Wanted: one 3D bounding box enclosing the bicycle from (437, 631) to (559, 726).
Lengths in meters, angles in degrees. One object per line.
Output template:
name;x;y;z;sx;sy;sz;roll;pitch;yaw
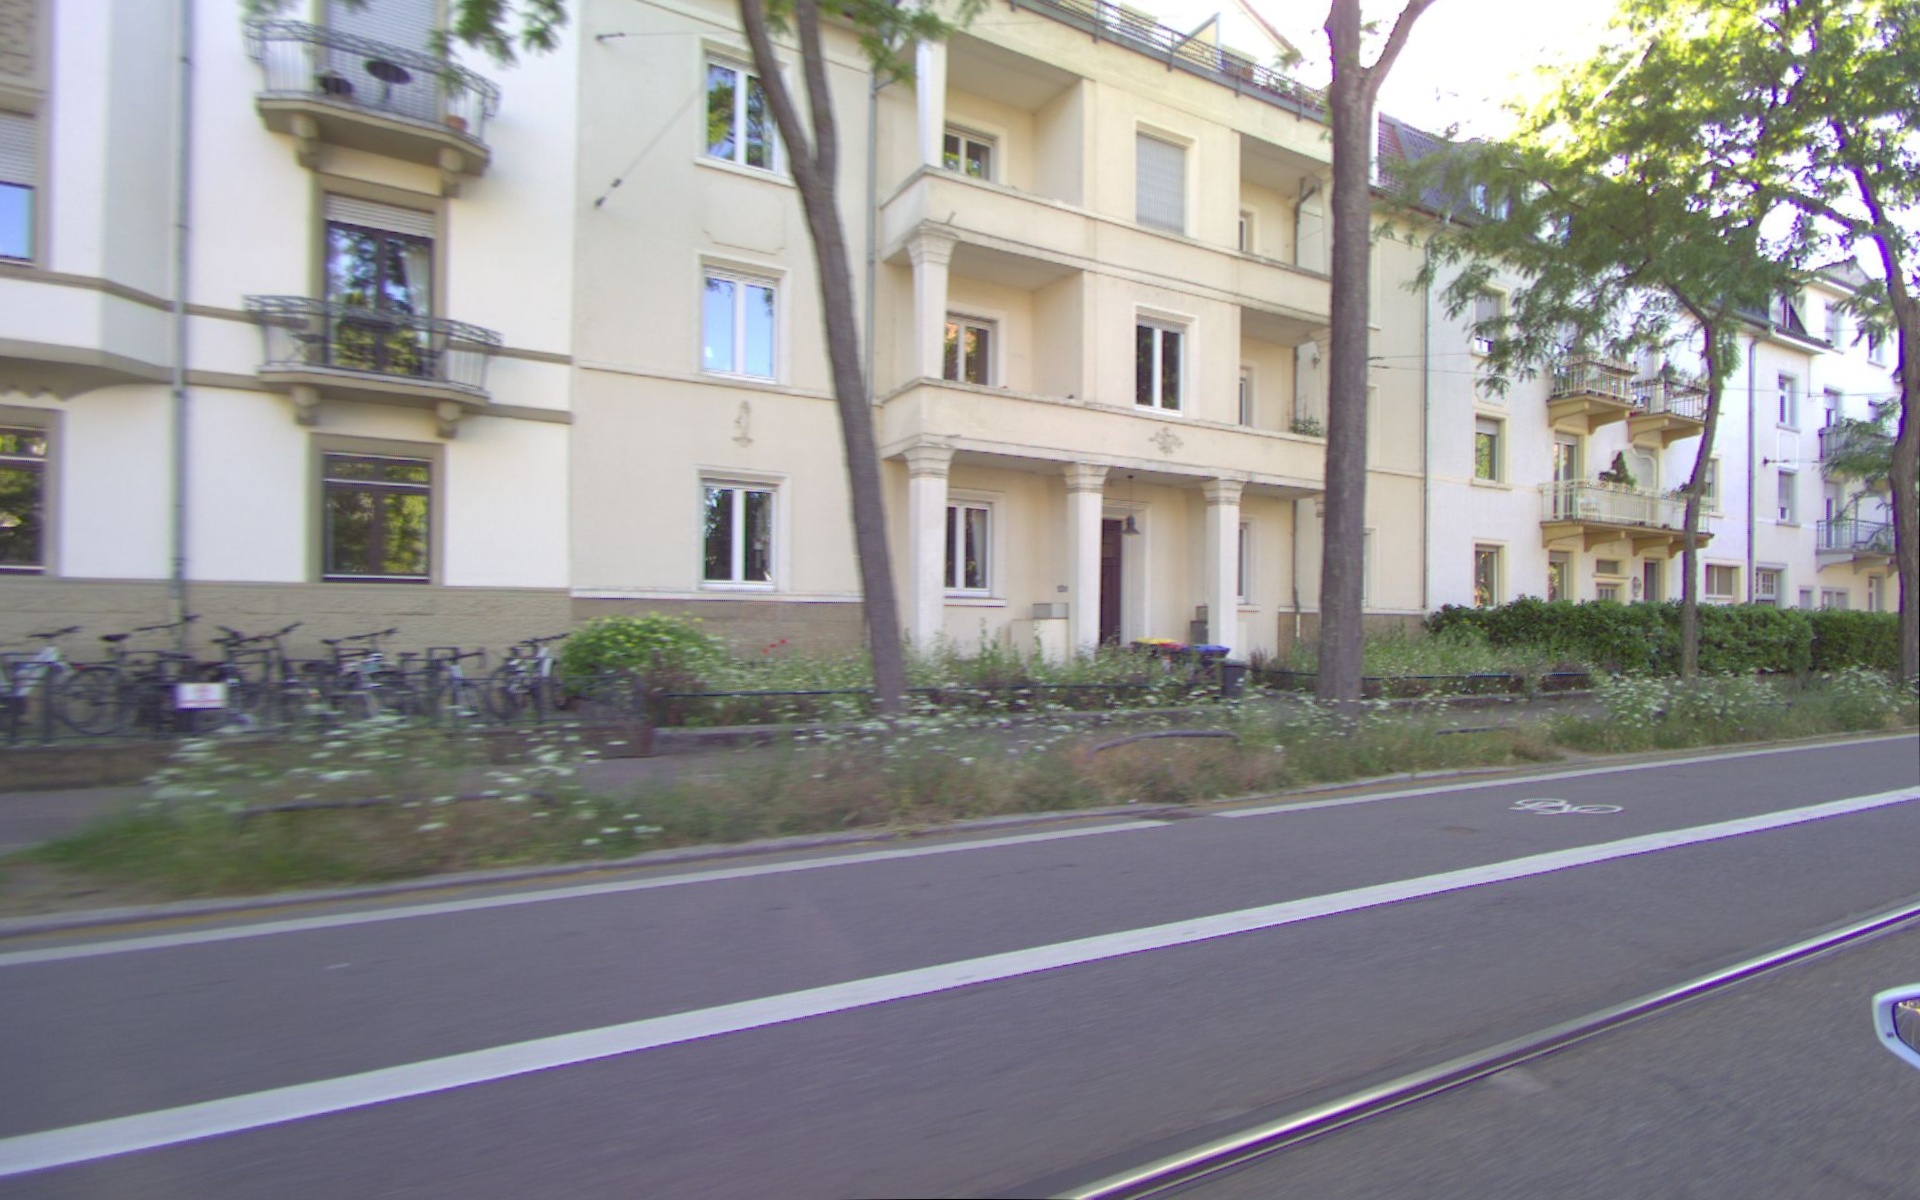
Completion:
bicycle;-5.706;0.934;12.522;0.547;1.010;1.863;1;1;4

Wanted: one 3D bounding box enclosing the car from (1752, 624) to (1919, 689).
car;27.090;1.664;30.559;1.928;1.683;4.283;1;0;-28

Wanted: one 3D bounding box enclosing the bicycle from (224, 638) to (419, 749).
bicycle;-6.326;0.897;9.956;1.825;1.010;0.558;0;-1;17

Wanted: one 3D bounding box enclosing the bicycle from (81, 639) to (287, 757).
bicycle;-7.295;0.887;9.444;1.825;1.010;0.558;0;-1;17

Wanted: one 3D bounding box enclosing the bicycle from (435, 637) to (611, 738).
bicycle;-4.772;0.933;10.971;1.825;1.010;0.558;0;-1;17

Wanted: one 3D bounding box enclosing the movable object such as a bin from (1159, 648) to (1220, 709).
movable object such as a bin;3.748;1.262;16.408;0.731;0.934;0.625;1;0;-30

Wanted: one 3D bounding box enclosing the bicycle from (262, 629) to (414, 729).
bicycle;-7.355;0.896;11.996;0.547;1.010;1.863;1;1;4

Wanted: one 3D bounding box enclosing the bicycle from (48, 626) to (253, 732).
bicycle;-8.964;0.831;11.232;0.547;1.010;1.863;1;1;11

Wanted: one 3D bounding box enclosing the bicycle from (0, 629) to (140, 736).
bicycle;-9.815;0.848;10.607;0.547;1.010;1.863;1;1;11

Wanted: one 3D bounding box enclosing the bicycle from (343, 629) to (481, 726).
bicycle;-6.655;0.901;12.309;0.547;1.010;1.863;1;1;4

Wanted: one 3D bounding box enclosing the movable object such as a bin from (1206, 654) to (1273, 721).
movable object such as a bin;4.207;1.307;15.127;0.731;0.934;0.625;1;0;-30

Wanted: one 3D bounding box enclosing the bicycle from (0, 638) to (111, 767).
bicycle;-8.315;0.863;8.876;1.827;1.010;0.558;0;-1;27

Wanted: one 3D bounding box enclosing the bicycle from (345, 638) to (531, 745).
bicycle;-5.415;0.921;10.424;1.825;1.010;0.558;0;-1;17

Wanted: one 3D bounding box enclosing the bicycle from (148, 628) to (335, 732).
bicycle;-8.158;0.868;11.515;0.547;1.010;1.863;1;1;11

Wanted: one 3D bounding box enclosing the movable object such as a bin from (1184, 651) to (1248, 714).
movable object such as a bin;4.035;1.285;15.834;0.731;0.934;0.625;1;0;-30
